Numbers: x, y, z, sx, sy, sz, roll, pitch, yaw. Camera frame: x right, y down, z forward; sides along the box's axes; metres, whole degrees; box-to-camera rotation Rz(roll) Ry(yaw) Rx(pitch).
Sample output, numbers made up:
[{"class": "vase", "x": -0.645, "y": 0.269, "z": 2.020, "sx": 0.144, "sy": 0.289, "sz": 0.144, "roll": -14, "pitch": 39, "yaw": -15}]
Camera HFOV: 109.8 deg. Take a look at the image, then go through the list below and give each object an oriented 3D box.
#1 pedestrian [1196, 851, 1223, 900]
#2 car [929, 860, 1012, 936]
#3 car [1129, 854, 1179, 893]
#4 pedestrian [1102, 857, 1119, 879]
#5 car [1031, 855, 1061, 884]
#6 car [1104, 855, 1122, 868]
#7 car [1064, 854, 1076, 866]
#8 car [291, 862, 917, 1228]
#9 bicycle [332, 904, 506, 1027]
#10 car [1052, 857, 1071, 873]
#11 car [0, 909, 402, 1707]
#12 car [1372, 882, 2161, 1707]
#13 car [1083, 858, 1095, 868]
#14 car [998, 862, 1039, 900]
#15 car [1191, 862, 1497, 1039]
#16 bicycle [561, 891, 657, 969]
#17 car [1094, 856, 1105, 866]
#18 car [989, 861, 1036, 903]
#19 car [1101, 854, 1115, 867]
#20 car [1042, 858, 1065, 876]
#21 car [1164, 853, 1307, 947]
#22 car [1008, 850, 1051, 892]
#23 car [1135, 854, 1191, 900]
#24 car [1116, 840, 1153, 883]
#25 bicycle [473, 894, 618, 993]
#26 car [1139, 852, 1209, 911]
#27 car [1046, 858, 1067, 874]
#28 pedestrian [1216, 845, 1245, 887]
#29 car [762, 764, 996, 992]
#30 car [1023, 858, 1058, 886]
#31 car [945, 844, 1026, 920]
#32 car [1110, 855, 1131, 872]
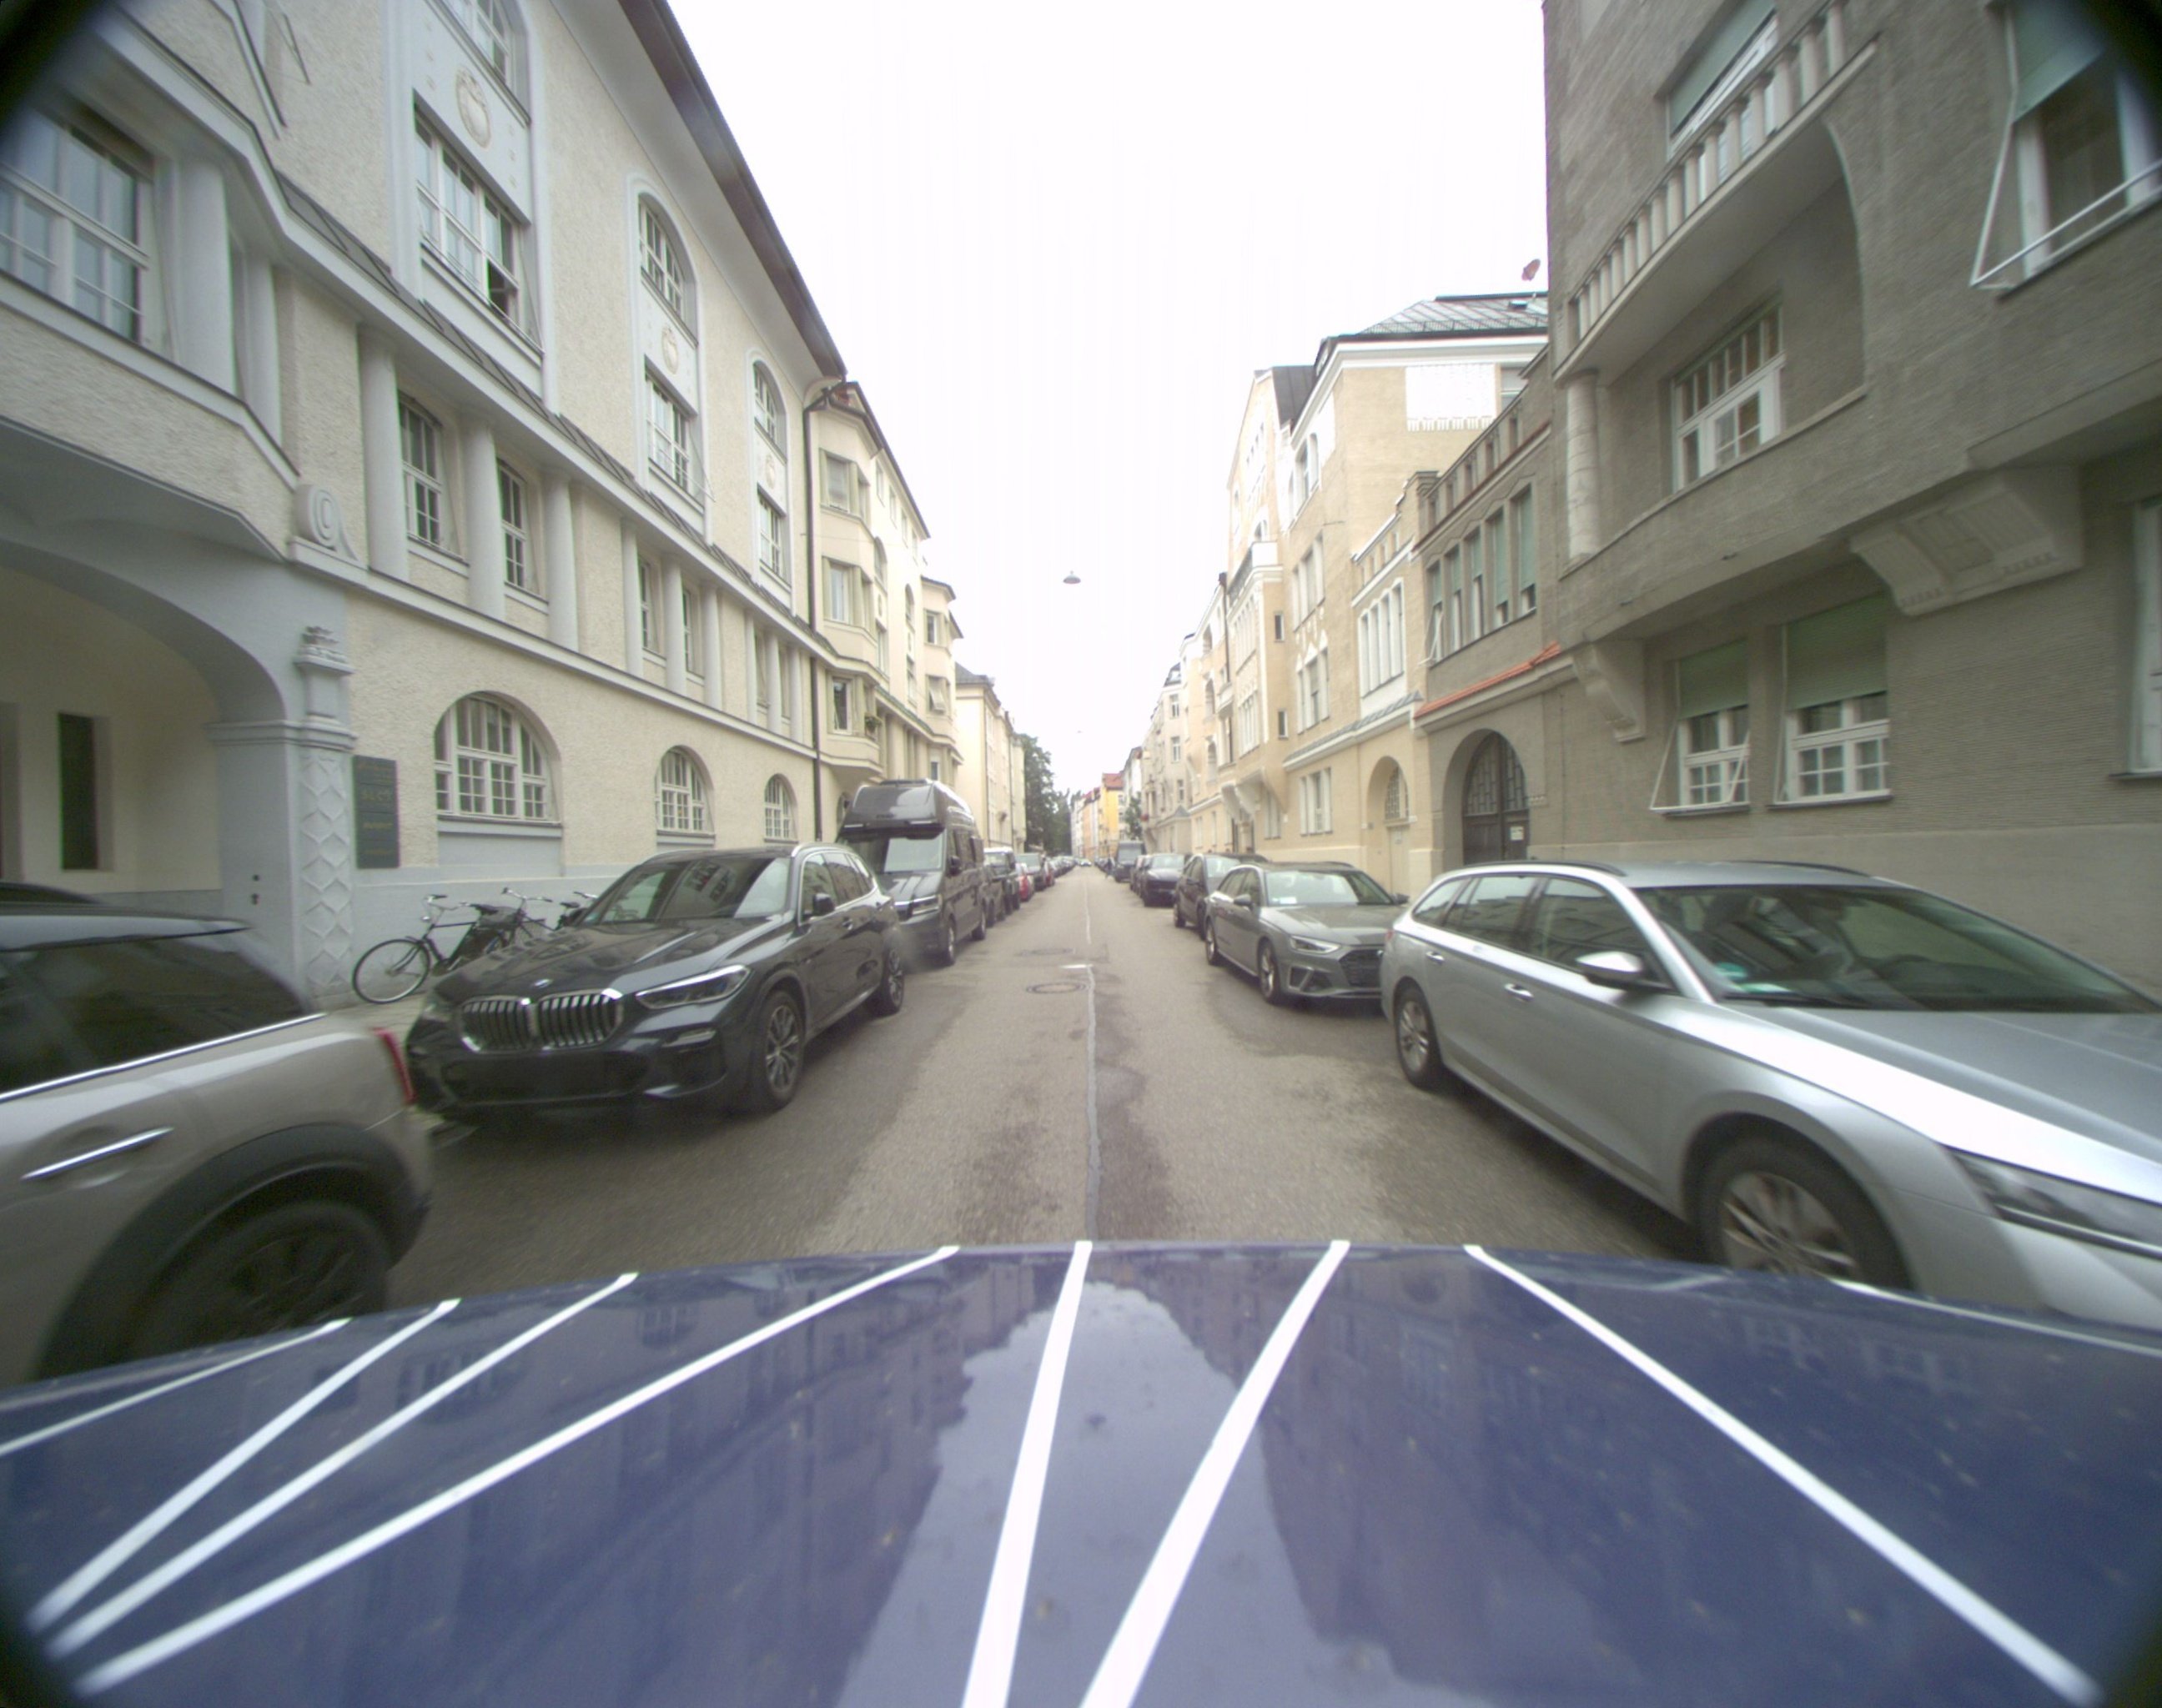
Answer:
[{"class": "pedestrian", "x": 4.880, "y": 0.806, "z": 28.922, "sx": 0.837, "sy": 1.779, "sz": 0.741, "roll": -2, "pitch": 1, "yaw": 0}, {"class": "car", "x": -2.638, "y": 1.005, "z": 18.614, "sx": 1.546, "sy": 1.616, "sz": 2.815, "roll": -2, "pitch": 0, "yaw": 0}, {"class": "car", "x": 3.304, "y": 0.842, "z": 35.105, "sx": 1.877, "sy": 1.639, "sz": 4.460, "roll": -2, "pitch": 0, "yaw": 0}, {"class": "pedestrian", "x": 2.147, "y": 1.011, "z": 54.684, "sx": 1.013, "sy": 1.514, "sz": 0.716, "roll": -2, "pitch": 1, "yaw": 16}, {"class": "car", "x": -2.299, "y": 0.984, "z": 50.766, "sx": 1.683, "sy": 1.767, "sz": 3.456, "roll": -2, "pitch": 0, "yaw": 1}, {"class": "car", "x": 3.526, "y": 0.820, "z": 83.869, "sx": 1.683, "sy": 1.390, "sz": 3.704, "roll": -2, "pitch": 0, "yaw": -1}, {"class": "car", "x": -1.588, "y": 0.824, "z": 110.343, "sx": 1.683, "sy": 1.671, "sz": 3.645, "roll": -2, "pitch": 0, "yaw": 1}, {"class": "car", "x": -2.880, "y": 0.978, "z": 6.127, "sx": 1.998, "sy": 1.679, "sz": 4.674, "roll": -3, "pitch": 0, "yaw": 0}, {"class": "bicycle", "x": -7.499, "y": 1.213, "z": 8.728, "sx": 0.483, "sy": 1.144, "sz": 1.788, "roll": 1, "pitch": 0, "yaw": -2}, {"class": "car", "x": -1.886, "y": 1.048, "z": 74.032, "sx": 1.683, "sy": 1.375, "sz": 3.645, "roll": -2, "pitch": 0, "yaw": 1}, {"class": "car", "x": -2.951, "y": 0.999, "z": 0.372, "sx": 1.638, "sy": 1.582, "sz": 3.968, "roll": -2, "pitch": 0, "yaw": -1}, {"class": "car", "x": 2.939, "y": 0.918, "z": 3.260, "sx": 1.810, "sy": 1.423, "sz": 4.439, "roll": -1, "pitch": 0, "yaw": 2}, {"class": "car", "x": 1.482, "y": 1.603, "z": 141.920, "sx": 1.999, "sy": 1.788, "sz": 3.998, "roll": -2, "pitch": 0, "yaw": -3}, {"class": "car", "x": -2.729, "y": 1.155, "z": 33.840, "sx": 1.497, "sy": 1.463, "sz": 3.675, "roll": -3, "pitch": 0, "yaw": -1}, {"class": "car", "x": 2.678, "y": 0.872, "z": 9.035, "sx": 1.842, "sy": 1.504, "sz": 4.606, "roll": -1, "pitch": 0, "yaw": -3}, {"class": "bicycle", "x": -7.493, "y": 1.165, "z": 12.162, "sx": 0.389, "sy": 1.063, "sz": 1.788, "roll": 0, "pitch": 0, "yaw": 1}, {"class": "car", "x": 3.917, "y": 1.416, "z": 161.448, "sx": 1.999, "sy": 2.002, "sz": 3.998, "roll": -2, "pitch": 0, "yaw": -3}, {"class": "car", "x": -2.637, "y": 1.054, "z": 29.765, "sx": 1.497, "sy": 1.463, "sz": 3.503, "roll": -3, "pitch": 0, "yaw": -1}, {"class": "car", "x": 3.604, "y": 0.872, "z": 101.534, "sx": 1.683, "sy": 1.628, "sz": 3.704, "roll": -2, "pitch": 0, "yaw": -1}, {"class": "car", "x": -2.298, "y": 1.088, "z": 64.487, "sx": 1.683, "sy": 1.434, "sz": 3.645, "roll": -2, "pitch": 0, "yaw": 1}, {"class": "car", "x": 2.878, "y": 0.793, "z": 15.053, "sx": 1.808, "sy": 1.563, "sz": 3.812, "roll": -2, "pitch": 0, "yaw": -3}, {"class": "car", "x": -2.622, "y": 0.843, "z": 39.598, "sx": 1.881, "sy": 1.925, "sz": 4.662, "roll": -3, "pitch": 0, "yaw": -1}, {"class": "car", "x": 3.192, "y": 0.857, "z": 30.206, "sx": 1.736, "sy": 1.633, "sz": 4.102, "roll": -2, "pitch": 0, "yaw": 0}, {"class": "car", "x": 3.355, "y": 0.438, "z": 48.462, "sx": 2.104, "sy": 2.606, "sz": 5.678, "roll": -1, "pitch": 0, "yaw": 1}, {"class": "bicycle", "x": -7.391, "y": 1.195, "z": 10.602, "sx": 0.482, "sy": 1.144, "sz": 1.789, "roll": -2, "pitch": 0, "yaw": 9}, {"class": "car", "x": 2.926, "y": 0.804, "z": 24.686, "sx": 1.955, "sy": 1.649, "sz": 4.618, "roll": -2, "pitch": 0, "yaw": 4}, {"class": "car", "x": -2.189, "y": 1.071, "z": 69.508, "sx": 1.683, "sy": 1.375, "sz": 3.645, "roll": -2, "pitch": 0, "yaw": 1}, {"class": "pedestrian", "x": 6.334, "y": 0.486, "z": 32.224, "sx": 0.995, "sy": 1.718, "sz": 0.939, "roll": -2, "pitch": 1, "yaw": 0}, {"class": "car", "x": -3.051, "y": 0.280, "z": 13.264, "sx": 2.260, "sy": 2.943, "sz": 6.131, "roll": -3, "pitch": 1, "yaw": 0}, {"class": "car", "x": -2.345, "y": 1.034, "z": 44.747, "sx": 1.731, "sy": 1.458, "sz": 3.737, "roll": -2, "pitch": 0, "yaw": 1}, {"class": "car", "x": -2.805, "y": 0.769, "z": 23.169, "sx": 1.800, "sy": 2.027, "sz": 4.071, "roll": -2, "pitch": 0, "yaw": 1}, {"class": "car", "x": 3.483, "y": 0.859, "z": 67.629, "sx": 1.683, "sy": 1.390, "sz": 3.705, "roll": -2, "pitch": 0, "yaw": 1}]
